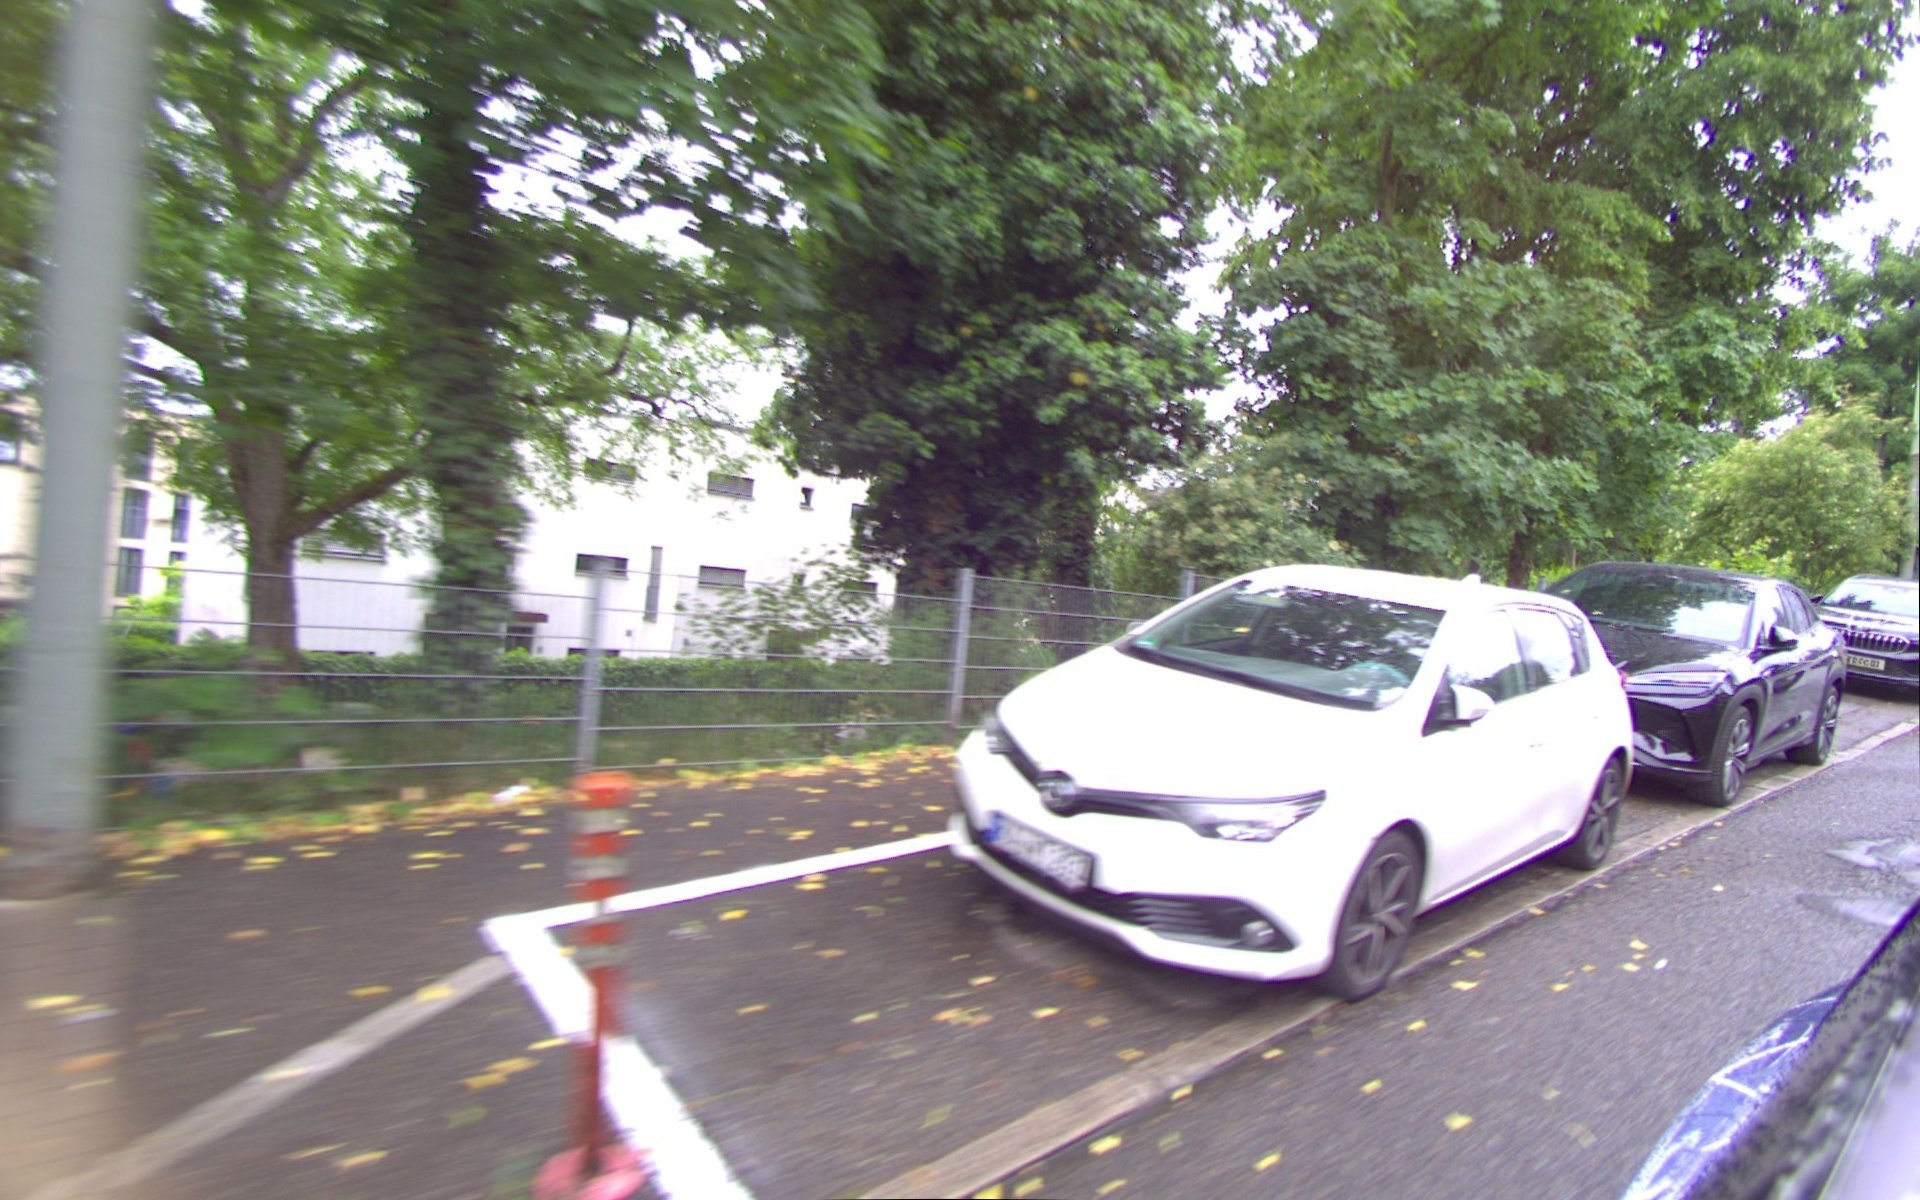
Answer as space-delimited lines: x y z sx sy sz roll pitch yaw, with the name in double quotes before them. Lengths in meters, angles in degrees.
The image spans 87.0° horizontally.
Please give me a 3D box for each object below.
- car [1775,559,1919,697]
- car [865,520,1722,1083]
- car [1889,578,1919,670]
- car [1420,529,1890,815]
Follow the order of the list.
"car" 13.990 0.358 14.933 4.728 1.670 1.974 0 6 -39
"car" 2.026 0.534 5.012 4.798 1.480 1.746 1 5 -41
"car" 18.652 0.491 18.427 3.941 1.579 1.926 0 6 -40
"car" 6.034 0.428 8.528 4.796 1.670 1.926 1 5 -40
